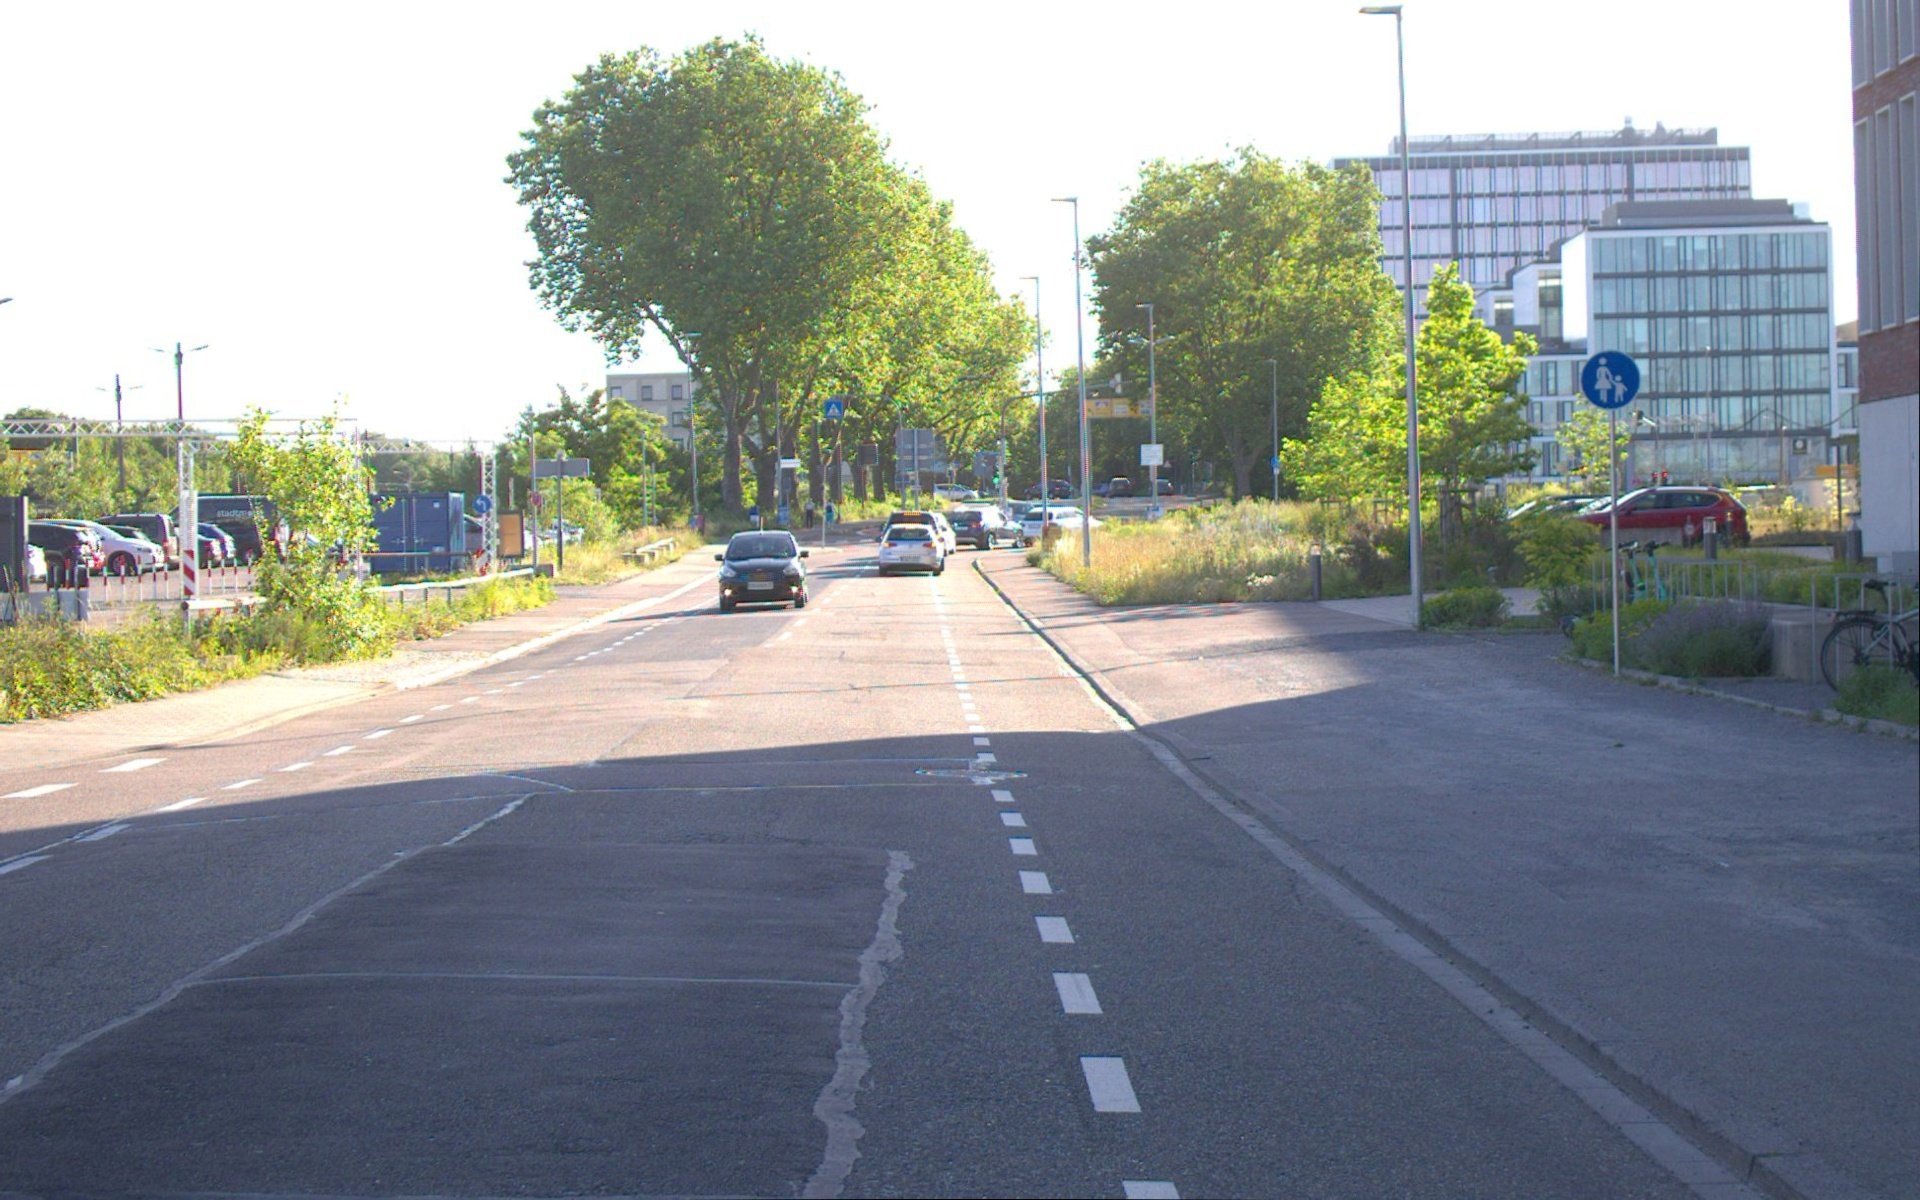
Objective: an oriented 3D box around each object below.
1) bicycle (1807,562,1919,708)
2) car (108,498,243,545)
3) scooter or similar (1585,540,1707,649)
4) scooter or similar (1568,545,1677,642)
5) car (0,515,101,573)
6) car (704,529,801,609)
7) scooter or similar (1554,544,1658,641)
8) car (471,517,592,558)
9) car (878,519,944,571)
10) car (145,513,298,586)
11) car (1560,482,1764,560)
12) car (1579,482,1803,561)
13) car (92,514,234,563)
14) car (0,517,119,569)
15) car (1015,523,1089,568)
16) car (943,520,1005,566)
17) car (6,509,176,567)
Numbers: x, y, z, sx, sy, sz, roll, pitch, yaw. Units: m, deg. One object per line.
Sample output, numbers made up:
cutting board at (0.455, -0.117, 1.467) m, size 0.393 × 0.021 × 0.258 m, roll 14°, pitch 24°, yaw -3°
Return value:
bicycle at (8.074, 0.269, 28.632) m, size 1.931 × 1.166 × 0.375 m, roll -2°, pitch 1°, yaw -6°
car at (-26.801, -2.689, 117.500) m, size 4.207 × 1.612 × 1.878 m, roll 0°, pitch 2°, yaw -1°
scooter or similar at (8.033, -0.066, 40.294) m, size 1.340 × 1.241 × 0.423 m, roll -1°, pitch 1°, yaw 4°
scooter or similar at (8.059, -0.079, 41.851) m, size 1.243 × 1.152 × 0.366 m, roll -1°, pitch 1°, yaw 4°
car at (-26.342, -1.594, 96.790) m, size 3.882 × 1.598 × 1.878 m, roll 0°, pitch 2°, yaw -1°
car at (-4.126, -0.626, 68.841) m, size 1.654 × 1.498 × 4.000 m, roll -2°, pitch 1°, yaw 0°
scooter or similar at (8.145, -0.092, 43.376) m, size 1.243 × 1.191 × 0.340 m, roll -1°, pitch 1°, yaw 4°
car at (-16.418, -2.419, 131.875) m, size 4.425 × 1.552 × 1.878 m, roll 0°, pitch 2°, yaw -1°
car at (-1.364, -1.569, 97.619) m, size 1.790 × 1.415 × 4.000 m, roll 0°, pitch 2°, yaw 0°
car at (-26.322, -1.808, 122.621) m, size 4.926 × 2.451 × 2.320 m, roll -1°, pitch 1°, yaw -1°
car at (15.562, -1.749, 76.333) m, size 4.184 × 1.575 × 1.851 m, roll -1°, pitch -2°, yaw 3°
car at (14.723, -1.592, 69.408) m, size 4.184 × 1.575 × 1.851 m, roll 0°, pitch 2°, yaw 3°
car at (-26.639, -2.076, 115.005) m, size 4.321 × 1.612 × 1.878 m, roll 0°, pitch 2°, yaw -1°
car at (-26.924, -1.685, 101.188) m, size 3.882 × 1.514 × 1.878 m, roll 0°, pitch 2°, yaw -1°
car at (3.539, -2.101, 132.130) m, size 2.164 × 1.678 × 3.998 m, roll -1°, pitch 1°, yaw 11°
car at (0.536, -2.089, 126.597) m, size 2.163 × 1.678 × 4.000 m, roll 0°, pitch 0°, yaw 2°
car at (-26.269, -1.891, 104.046) m, size 4.580 × 1.735 × 2.058 m, roll 0°, pitch 2°, yaw 3°
